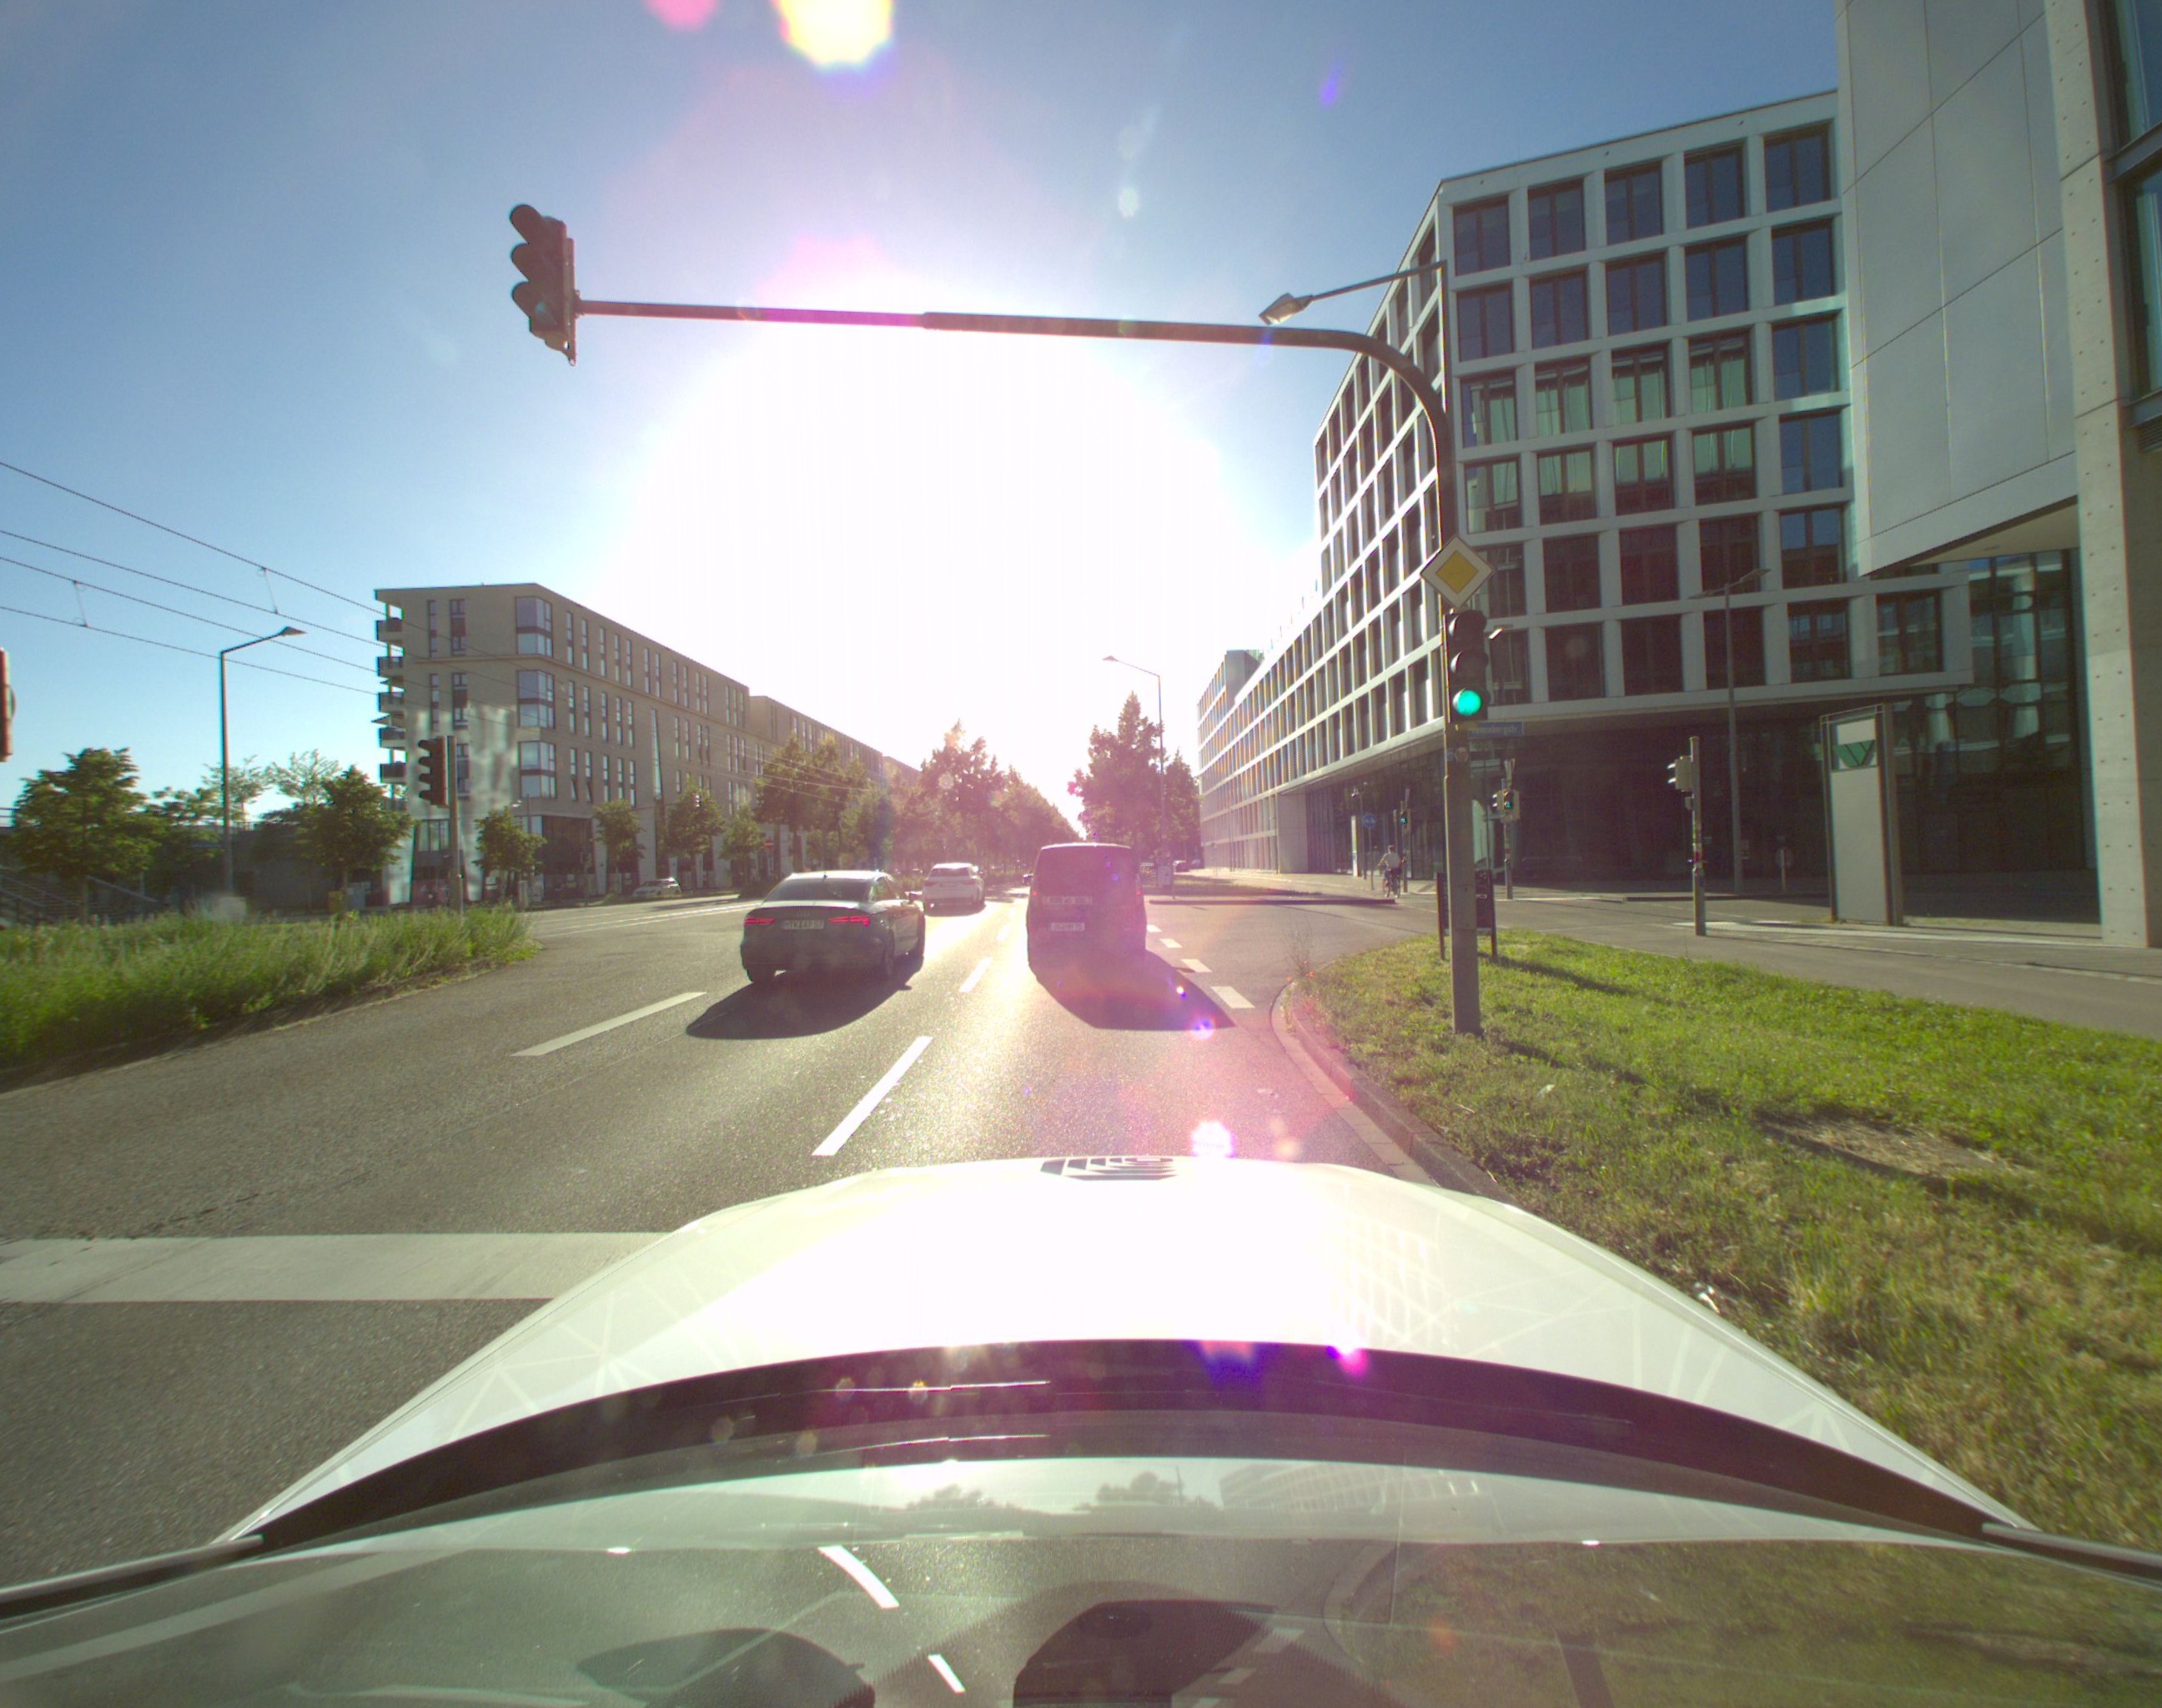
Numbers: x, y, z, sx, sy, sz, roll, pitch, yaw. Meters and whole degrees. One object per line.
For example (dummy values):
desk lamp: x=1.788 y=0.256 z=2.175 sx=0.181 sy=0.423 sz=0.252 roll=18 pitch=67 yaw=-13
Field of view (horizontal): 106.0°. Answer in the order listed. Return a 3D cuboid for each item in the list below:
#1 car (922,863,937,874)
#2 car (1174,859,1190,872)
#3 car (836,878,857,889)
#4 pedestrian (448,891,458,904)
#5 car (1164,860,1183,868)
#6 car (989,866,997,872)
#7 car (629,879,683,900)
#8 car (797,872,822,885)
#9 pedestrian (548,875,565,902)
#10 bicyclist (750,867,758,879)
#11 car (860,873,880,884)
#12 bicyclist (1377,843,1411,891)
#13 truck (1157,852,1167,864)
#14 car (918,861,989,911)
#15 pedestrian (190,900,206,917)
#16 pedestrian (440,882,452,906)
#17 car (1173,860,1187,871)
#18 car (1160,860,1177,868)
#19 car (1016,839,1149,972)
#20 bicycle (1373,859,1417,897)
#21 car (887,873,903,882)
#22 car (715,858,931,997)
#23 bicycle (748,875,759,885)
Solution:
car: x=-28.248 y=2.639 z=152.391 sx=1.987 sy=2.014 sz=3.999 roll=-2 pitch=-1 yaw=0
car: x=13.675 y=1.548 z=110.300 sx=1.750 sy=1.611 sz=3.906 roll=-2 pitch=-1 yaw=3
car: x=-30.879 y=3.860 z=107.536 sx=1.574 sy=1.342 sz=3.713 roll=-2 pitch=-1 yaw=1
pedestrian: x=-46.920 y=3.273 z=60.855 sx=0.602 sy=0.920 sz=0.428 roll=0 pitch=-1 yaw=-35
car: x=16.912 y=1.878 z=149.260 sx=3.379 sy=1.358 sz=1.474 roll=-2 pitch=-1 yaw=8
car: x=-26.873 y=4.630 z=249.323 sx=1.749 sy=1.574 sz=4.001 roll=-2 pitch=-1 yaw=1
car: x=-32.178 y=2.661 z=61.777 sx=1.574 sy=1.342 sz=4.472 roll=-2 pitch=-1 yaw=1
car: x=-31.529 y=2.851 z=94.690 sx=1.574 sy=1.342 sz=3.713 roll=-2 pitch=-1 yaw=1
pedestrian: x=-35.211 y=2.311 z=54.660 sx=0.577 sy=1.812 sz=0.799 roll=-1 pitch=-1 yaw=-2
bicyclist: x=-36.464 y=2.156 z=90.708 sx=0.576 sy=1.293 sz=0.705 roll=-1 pitch=-1 yaw=1
car: x=-31.085 y=3.590 z=120.143 sx=1.769 sy=1.528 sz=3.806 roll=-2 pitch=-1 yaw=1
bicyclist: x=10.378 y=0.416 z=27.028 sx=0.768 sy=1.531 sz=0.850 roll=-3 pitch=-1 yaw=1
truck: x=18.010 y=0.994 z=181.016 sx=1.825 sy=2.501 sz=5.933 roll=-2 pitch=-1 yaw=1
car: x=-4.069 y=0.995 z=26.604 sx=1.804 sy=1.434 sz=4.108 roll=-2 pitch=0 yaw=-3
pedestrian: x=-59.360 y=3.676 z=54.749 sx=0.437 sy=1.125 sz=0.601 roll=-1 pitch=-1 yaw=4
pedestrian: x=-46.871 y=2.954 z=60.109 sx=0.602 sy=1.771 sz=0.665 roll=0 pitch=-1 yaw=-35
car: x=13.969 y=1.608 z=115.500 sx=1.811 sy=1.532 sz=3.442 roll=-2 pitch=-1 yaw=5
car: x=17.308 y=1.965 z=160.947 sx=3.379 sy=1.358 sz=1.474 roll=-2 pitch=-1 yaw=8
car: x=0.120 y=0.734 z=13.464 sx=1.801 sy=1.794 sz=4.115 roll=-2 pitch=-1 yaw=3
bicycle: x=10.374 y=0.778 z=26.970 sx=0.738 sy=1.174 sz=1.962 roll=-2 pitch=-1 yaw=2
car: x=-30.279 y=3.762 z=132.801 sx=1.574 sy=1.342 sz=3.713 roll=-2 pitch=-1 yaw=1
car: x=-3.362 y=0.867 z=11.483 sx=1.803 sy=1.527 sz=4.109 roll=-2 pitch=0 yaw=-2
bicycle: x=-36.436 y=2.884 z=90.672 sx=0.526 sy=1.111 sz=1.638 roll=-1 pitch=-1 yaw=2
